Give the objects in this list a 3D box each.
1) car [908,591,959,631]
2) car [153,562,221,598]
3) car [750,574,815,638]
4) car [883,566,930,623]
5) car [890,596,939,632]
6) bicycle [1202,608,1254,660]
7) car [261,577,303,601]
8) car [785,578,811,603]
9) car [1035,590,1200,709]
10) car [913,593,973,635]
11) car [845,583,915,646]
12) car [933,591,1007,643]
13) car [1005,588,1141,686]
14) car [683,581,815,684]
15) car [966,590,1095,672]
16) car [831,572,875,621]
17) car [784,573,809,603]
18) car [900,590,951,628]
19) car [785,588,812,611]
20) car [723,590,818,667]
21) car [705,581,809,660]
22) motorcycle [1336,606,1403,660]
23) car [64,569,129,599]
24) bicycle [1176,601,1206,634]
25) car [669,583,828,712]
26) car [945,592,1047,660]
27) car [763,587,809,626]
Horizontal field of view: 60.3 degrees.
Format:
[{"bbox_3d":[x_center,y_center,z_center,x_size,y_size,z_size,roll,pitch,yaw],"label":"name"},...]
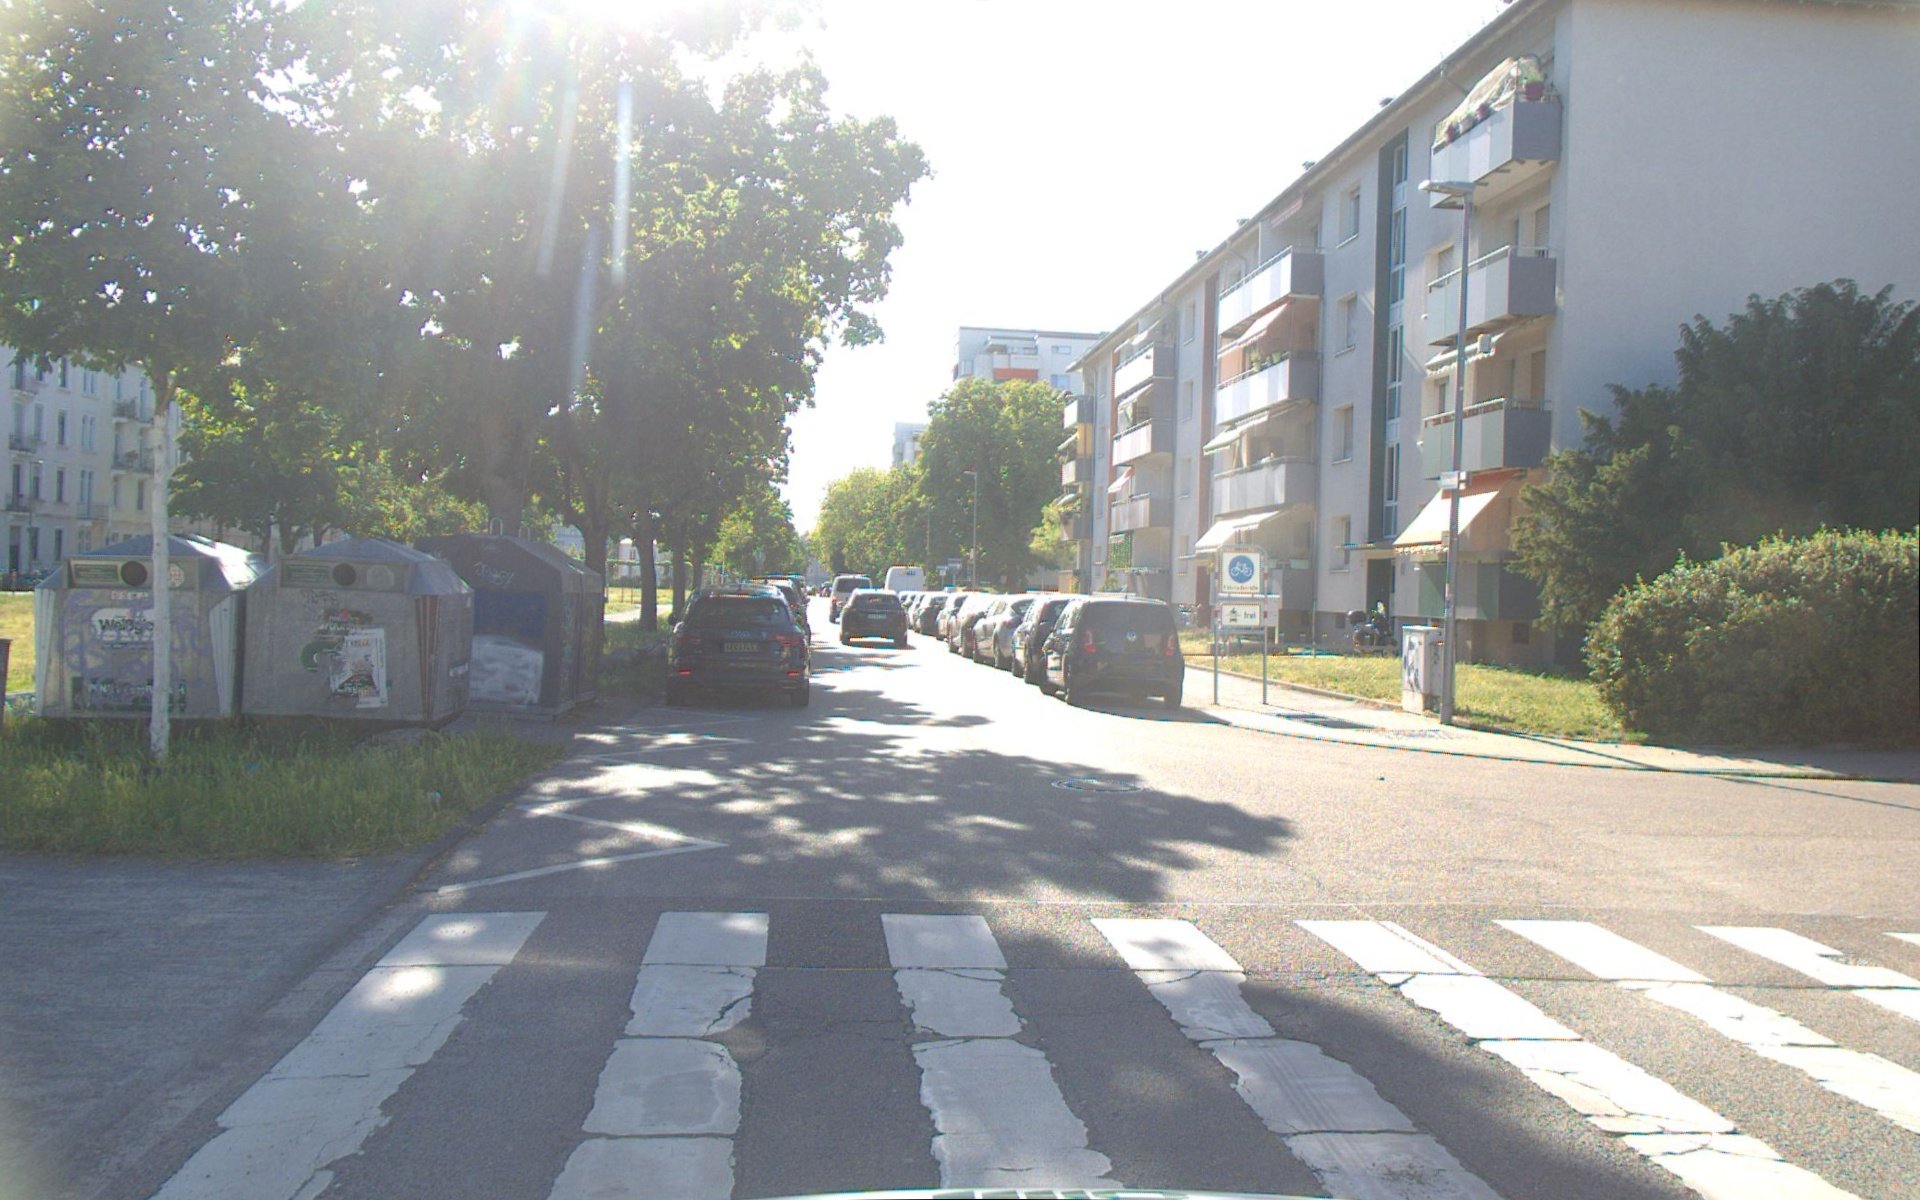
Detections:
[{"bbox_3d":[-1.072,0.403,65.028,1.688,1.460,4.148,1,0,-5],"label":"car"},{"bbox_3d":[-44.416,-1.140,95.166,2.042,1.905,5.089,2,0,-8],"label":"car"},{"bbox_3d":[-5.387,0.181,50.531,1.828,1.816,4.985,1,0,-5],"label":"car"},{"bbox_3d":[-2.716,-0.286,82.965,2.100,2.760,6.835,0,0,-4],"label":"car"},{"bbox_3d":[-2.099,0.608,75.027,1.814,1.491,4.196,3,0,-7],"label":"car"},{"bbox_3d":[6.015,0.743,37.192,0.705,1.096,1.895,2,0,-4],"label":"bicycle"},{"bbox_3d":[-45.812,-0.751,111.842,1.662,1.553,4.074,2,0,-8],"label":"car"},{"bbox_3d":[-13.587,-0.787,138.889,2.058,1.976,4.122,2,0,-5],"label":"car"},{"bbox_3d":[2.183,0.652,23.830,1.626,1.499,3.788,3,0,-5],"label":"car"},{"bbox_3d":[-0.656,0.476,59.618,1.667,1.460,4.465,0,0,-7],"label":"car"},{"bbox_3d":[-2.214,0.370,44.945,1.744,1.558,3.997,3,0,-4],"label":"car"},{"bbox_3d":[0.270,0.496,51.096,1.715,1.525,3.853,1,0,-9],"label":"car"},{"bbox_3d":[1.910,0.594,29.298,1.735,1.556,4.553,2,0,-4],"label":"car"},{"bbox_3d":[-3.525,0.476,27.478,1.956,1.543,5.149,0,0,-8],"label":"car"},{"bbox_3d":[1.405,0.593,34.829,1.838,1.560,4.484,2,0,-9],"label":"car"},{"bbox_3d":[-4.610,-0.165,71.101,1.857,2.026,4.007,0,0,-4],"label":"car"},{"bbox_3d":[-14.343,-1.026,145.249,2.057,2.540,4.123,2,0,-4],"label":"car"},{"bbox_3d":[-1.500,0.360,70.383,1.841,1.501,4.136,1,0,-5],"label":"car"},{"bbox_3d":[-10.977,-0.020,112.856,1.742,1.521,3.871,0,0,-4],"label":"car"},{"bbox_3d":[-4.317,0.610,38.243,1.986,1.654,4.753,0,0,-4],"label":"car"},{"bbox_3d":[-3.927,0.405,32.524,1.843,1.444,3.799,1,-1,-5],"label":"car"},{"bbox_3d":[9.309,0.746,37.673,0.573,1.171,2.030,1,0,-14],"label":"motorcycle"},{"bbox_3d":[-49.636,-0.925,95.127,1.957,1.614,4.443,2,0,-9],"label":"car"},{"bbox_3d":[7.703,0.576,55.269,0.513,1.089,2.007,-1,0,-6],"label":"bicycle"},{"bbox_3d":[-2.782,0.543,21.761,1.801,1.477,4.960,1,0,-8],"label":"car"},{"bbox_3d":[0.810,0.580,40.177,1.808,1.498,5.059,2,0,-6],"label":"car"},{"bbox_3d":[-7.247,0.256,68.846,1.837,1.546,4.464,-1,0,-7],"label":"car"}]
